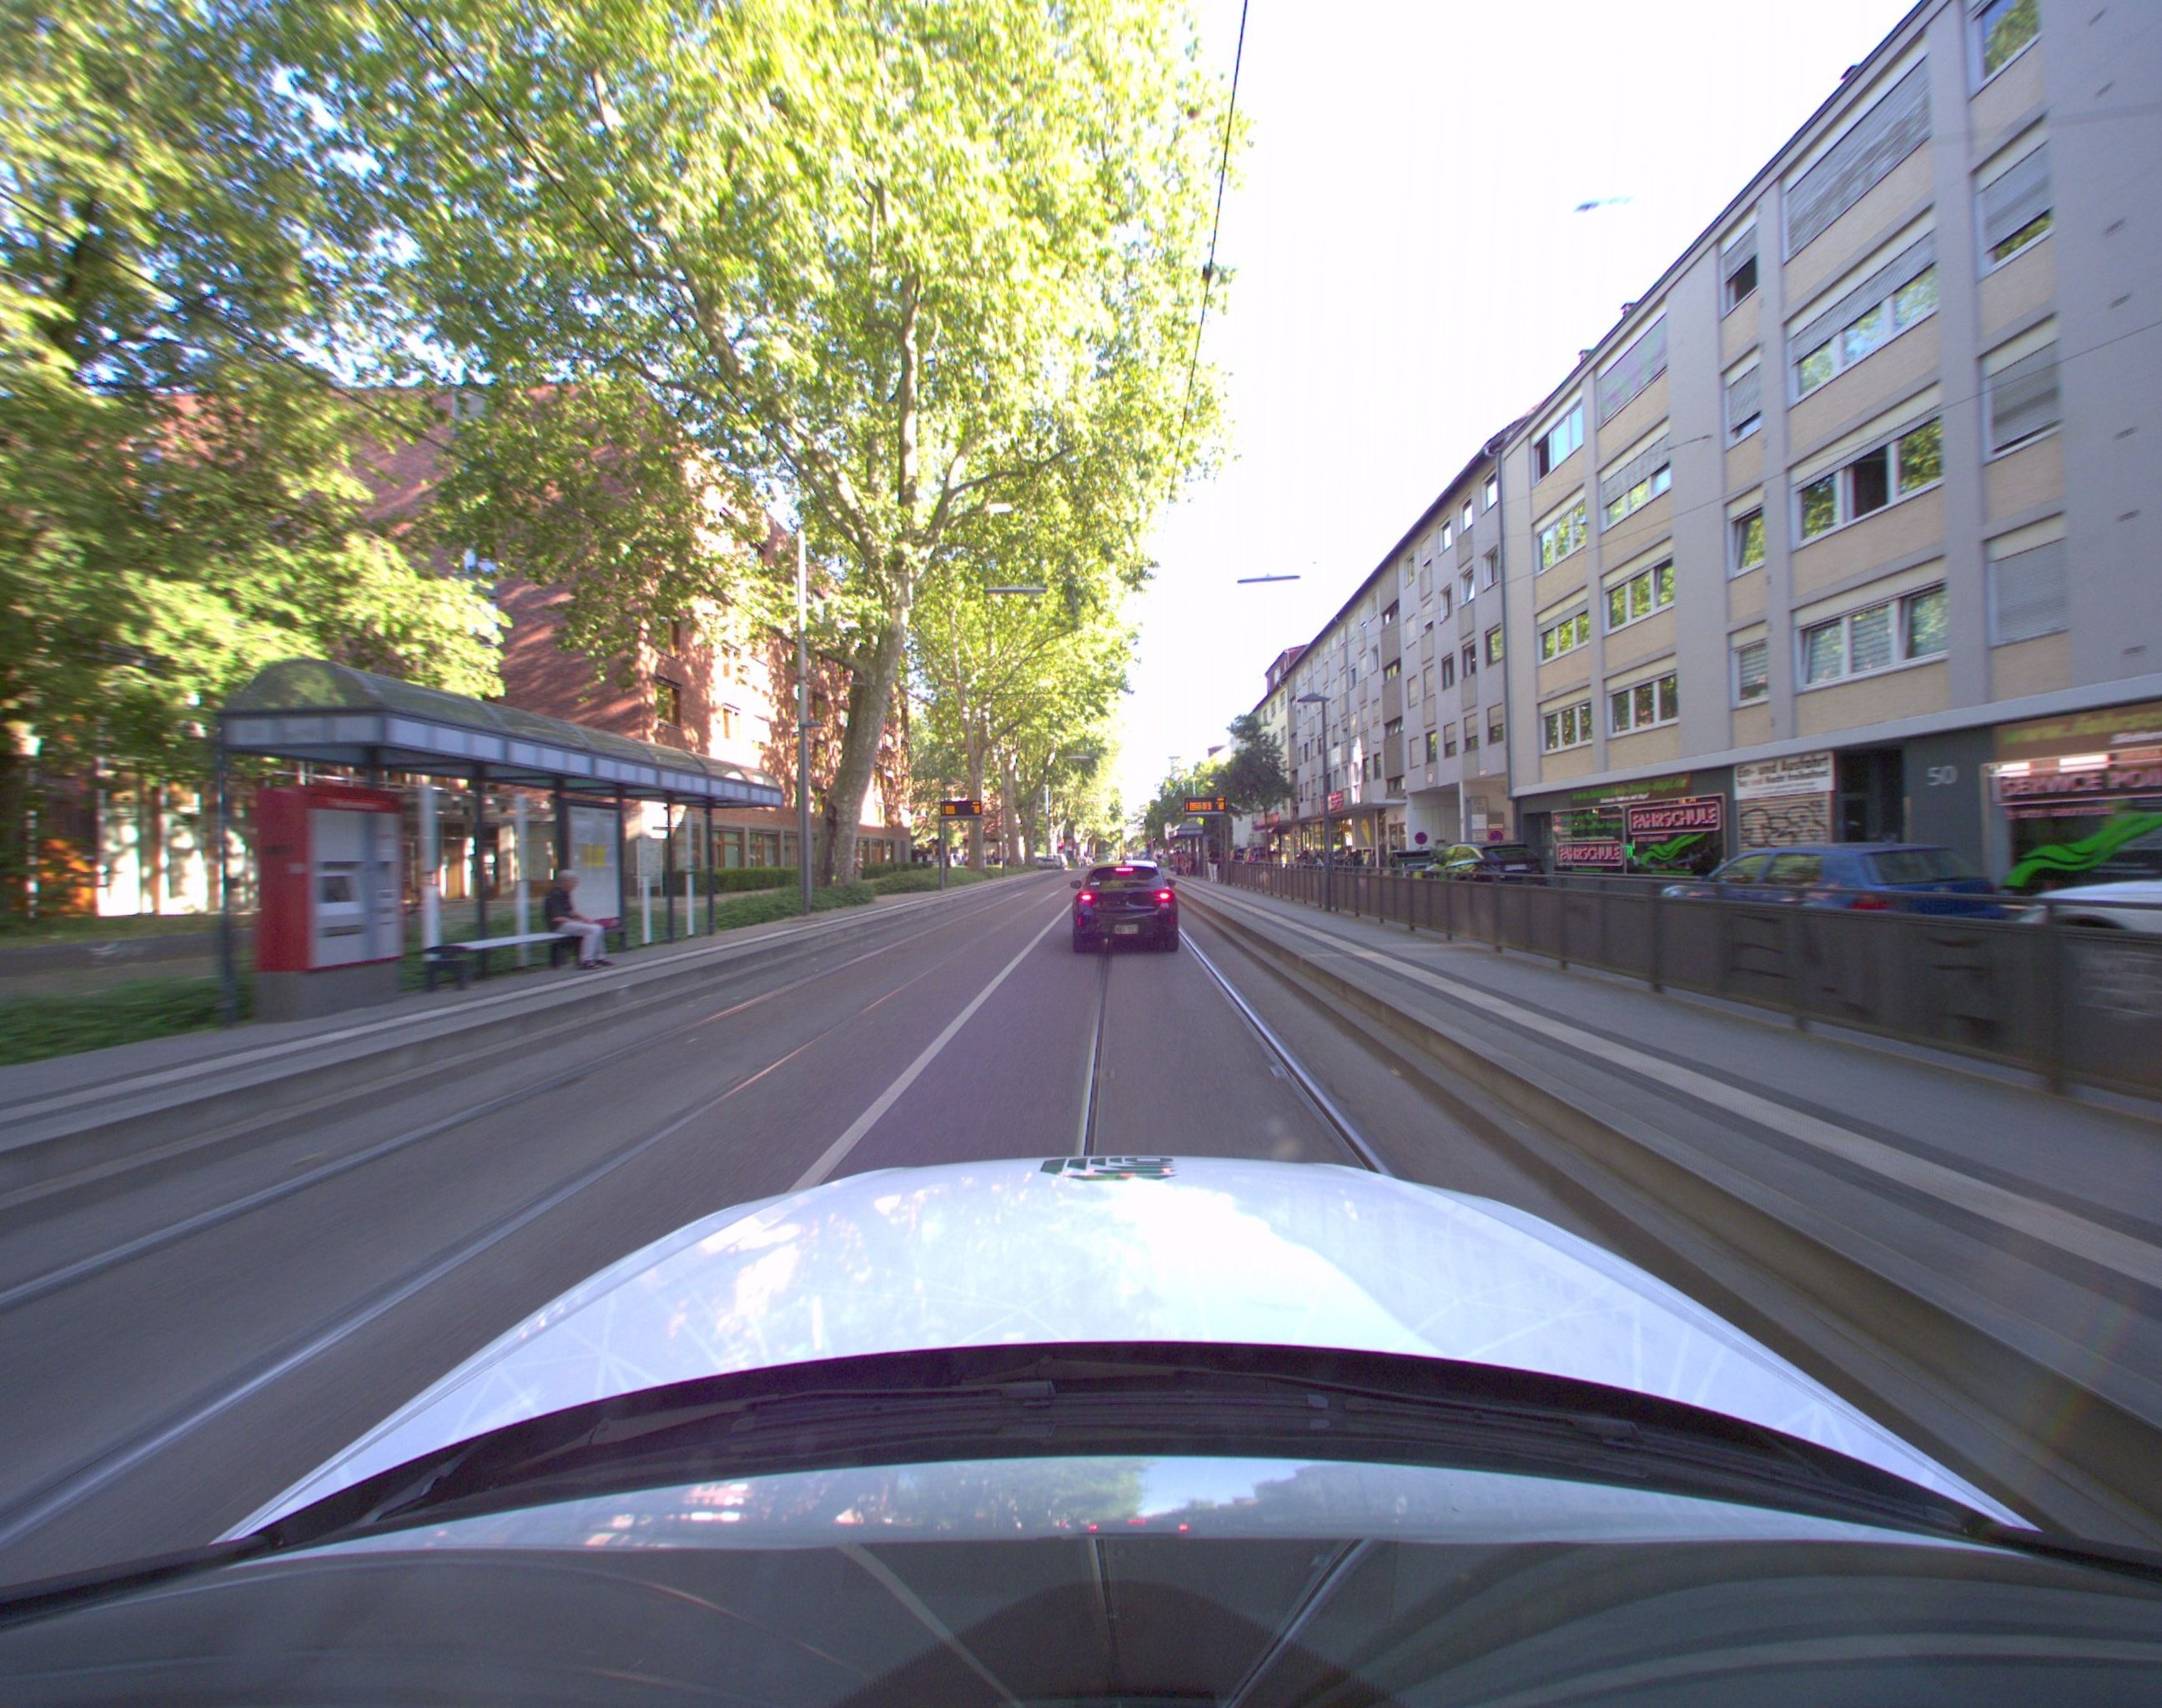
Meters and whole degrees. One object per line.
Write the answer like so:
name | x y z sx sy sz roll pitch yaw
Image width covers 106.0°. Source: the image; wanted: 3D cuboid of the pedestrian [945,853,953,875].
pedestrian | -11.491 0.863 70.834 0.493 1.950 0.677 -1 -1 15

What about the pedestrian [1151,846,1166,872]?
pedestrian | 5.225 0.327 54.813 0.742 1.709 0.768 -1 -1 37

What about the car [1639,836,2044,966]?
car | 9.930 0.543 11.208 1.737 1.440 4.249 0 -1 3

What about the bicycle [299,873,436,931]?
bicycle | -15.790 1.057 18.056 2.448 1.219 0.682 1 -1 2

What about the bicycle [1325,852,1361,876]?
bicycle | 12.634 0.486 39.330 0.621 1.136 2.432 0 -1 -9

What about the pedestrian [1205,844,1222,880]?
pedestrian | 5.812 0.345 35.725 0.628 1.576 0.871 1 0 2

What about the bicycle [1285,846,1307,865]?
bicycle | 12.880 0.104 48.785 0.596 1.136 2.201 0 -1 -3

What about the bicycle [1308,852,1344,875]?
bicycle | 12.844 0.492 42.771 0.611 1.136 2.912 0 -1 -9

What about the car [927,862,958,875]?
car | -20.875 2.188 122.772 4.233 2.014 2.001 0 -1 2

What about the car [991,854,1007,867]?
car | -13.119 0.986 130.852 1.985 2.014 4.002 0 -1 2

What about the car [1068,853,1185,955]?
car | 0.709 0.783 14.252 1.754 1.508 3.683 -2 -1 0

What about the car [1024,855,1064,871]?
car | -3.960 0.933 86.544 4.107 1.701 1.880 0 -1 -5

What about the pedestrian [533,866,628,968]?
pedestrian | -6.084 0.746 9.931 0.703 1.168 0.659 -2 -1 -1

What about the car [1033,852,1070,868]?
car | -3.596 0.675 97.787 4.377 1.851 1.996 0 -1 -5

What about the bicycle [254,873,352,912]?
bicycle | -22.893 1.120 23.999 1.943 1.073 0.761 0 -1 -14

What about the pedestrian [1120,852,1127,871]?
pedestrian | 4.731 0.821 89.741 0.671 2.013 0.703 1 0 8

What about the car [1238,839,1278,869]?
car | 12.117 0.007 56.078 1.986 1.952 4.001 0 -1 2

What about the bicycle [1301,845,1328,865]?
bicycle | 13.269 0.077 46.363 0.597 1.136 2.197 0 -1 -9

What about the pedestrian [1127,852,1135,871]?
pedestrian | 5.496 0.803 89.562 0.670 2.013 0.704 1 0 14

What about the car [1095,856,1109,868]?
car | 2.773 1.037 108.528 1.739 1.544 4.000 0 -1 1

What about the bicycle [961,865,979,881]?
bicycle | -9.011 1.556 66.159 0.951 1.240 2.979 0 -1 3

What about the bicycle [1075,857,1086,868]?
bicycle | -0.052 1.035 100.394 0.950 1.240 2.982 0 -1 6

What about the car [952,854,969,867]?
car | -19.288 0.995 130.483 1.985 2.014 4.002 0 -1 2

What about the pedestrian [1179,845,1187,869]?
pedestrian | 7.450 0.216 59.438 0.528 1.763 0.662 0 -1 5

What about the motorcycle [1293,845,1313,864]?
motorcycle | 15.407 0.028 56.627 0.888 1.280 2.044 0 -1 3

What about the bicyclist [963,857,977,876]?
bicyclist | -9.011 1.023 66.246 0.951 1.492 0.838 0 -1 2

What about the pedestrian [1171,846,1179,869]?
pedestrian | 6.970 0.283 60.214 0.528 1.709 0.597 0 -1 5

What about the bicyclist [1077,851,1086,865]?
bicyclist | 0.035 0.530 101.304 0.936 1.703 1.154 0 -1 5

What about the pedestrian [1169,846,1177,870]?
pedestrian | 6.612 0.320 58.798 0.528 1.709 0.753 0 -1 5

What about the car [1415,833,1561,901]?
car | 10.643 0.335 21.689 1.850 1.615 4.400 0 -1 3

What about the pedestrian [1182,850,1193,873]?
pedestrian | 6.269 0.434 47.985 0.532 1.304 0.550 0 -1 -2

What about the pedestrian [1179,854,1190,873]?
pedestrian | 5.955 0.539 46.826 0.532 1.099 0.550 0 -1 -2

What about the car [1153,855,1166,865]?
car | 13.429 1.064 139.415 1.985 1.632 4.002 0 -1 3

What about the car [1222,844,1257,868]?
car | 12.157 0.151 62.699 1.986 1.797 4.001 0 -1 2

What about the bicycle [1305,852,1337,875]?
bicycle | 12.297 0.500 41.765 0.602 1.136 2.427 0 -1 -9

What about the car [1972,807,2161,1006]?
car | 9.582 0.408 5.783 1.792 1.606 4.418 0 -1 3

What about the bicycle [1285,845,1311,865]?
bicycle | 12.608 0.092 47.396 0.597 1.136 2.197 0 -1 -9

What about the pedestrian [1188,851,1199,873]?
pedestrian | 6.390 0.468 46.268 0.532 1.230 0.510 0 -1 -2

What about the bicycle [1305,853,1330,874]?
bicycle | 13.023 0.509 44.932 0.410 1.136 2.197 0 -1 -9

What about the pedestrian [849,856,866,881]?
pedestrian | -14.206 0.909 51.688 0.771 1.605 0.947 0 -1 2

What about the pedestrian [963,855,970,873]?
pedestrian | -12.408 1.075 88.206 0.670 1.950 0.498 1 0 -1

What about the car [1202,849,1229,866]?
car | 12.329 0.318 74.760 1.985 1.486 4.002 0 -1 3

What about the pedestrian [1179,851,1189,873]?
pedestrian | 6.004 0.469 47.407 0.501 1.304 0.428 0 -1 -2

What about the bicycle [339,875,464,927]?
bicycle | -15.657 1.068 18.789 2.331 1.166 0.682 0 -1 2
